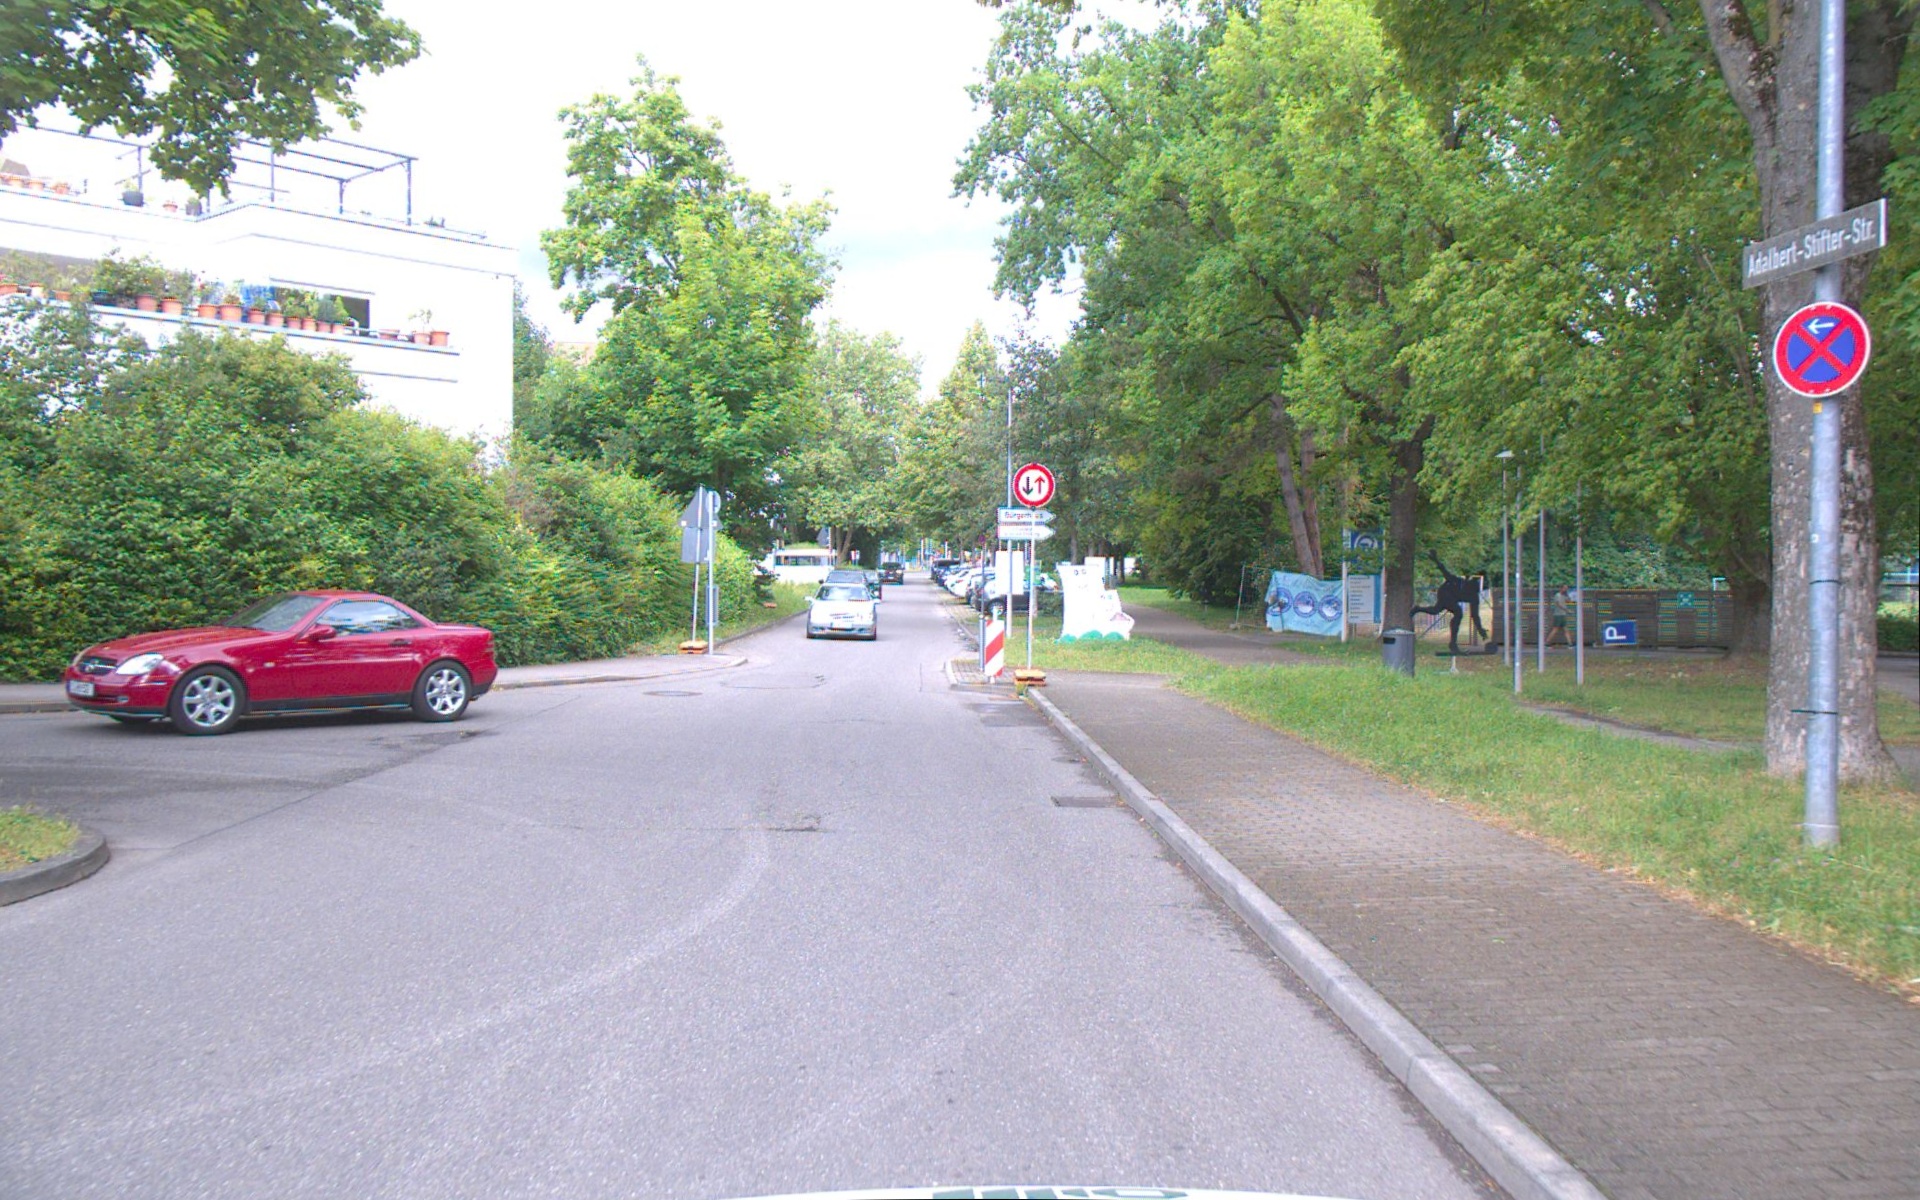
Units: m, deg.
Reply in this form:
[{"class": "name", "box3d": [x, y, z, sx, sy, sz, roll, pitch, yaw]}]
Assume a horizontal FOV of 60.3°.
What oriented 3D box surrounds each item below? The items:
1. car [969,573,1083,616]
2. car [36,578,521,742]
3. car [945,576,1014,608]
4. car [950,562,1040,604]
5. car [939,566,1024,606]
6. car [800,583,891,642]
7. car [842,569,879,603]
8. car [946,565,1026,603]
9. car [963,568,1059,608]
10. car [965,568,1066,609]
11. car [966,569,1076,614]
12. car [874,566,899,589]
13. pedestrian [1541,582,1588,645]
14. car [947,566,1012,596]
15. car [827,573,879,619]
[{"class": "car", "box3d": [2.383, -0.184, 60.351, 3.982, 1.459, 1.999, -1, -1, -3]}, {"class": "car", "box3d": [-6.474, 0.492, 16.060, 1.724, 1.359, 4.044, 1, 1, 40]}, {"class": "car", "box3d": [1.190, -0.531, 101.521, 3.985, 1.716, 1.820, -3, 1, -5]}, {"class": "car", "box3d": [1.624, -0.809, 77.990, 3.985, 1.716, 1.820, -3, 1, -5]}, {"class": "car", "box3d": [1.029, -0.709, 82.012, 3.985, 1.716, 1.820, -3, 1, -5]}, {"class": "car", "box3d": [-2.793, 0.273, 41.208, 1.744, 1.329, 4.298, 1, 1, 3]}, {"class": "car", "box3d": [-4.877, -0.702, 81.359, 1.767, 1.619, 4.293, 1, 1, -3]}, {"class": "car", "box3d": [1.364, -0.849, 87.323, 3.985, 1.716, 1.820, -3, 1, -5]}, {"class": "car", "box3d": [2.235, -0.532, 72.915, 3.985, 1.514, 1.820, -3, 1, -5]}, {"class": "car", "box3d": [2.257, -0.483, 68.088, 3.982, 1.595, 1.822, -1, 1, -3]}, {"class": "car", "box3d": [2.282, -0.307, 62.457, 3.982, 1.596, 1.821, -1, -1, -3]}, {"class": "car", "box3d": [-5.943, -1.814, 133.632, 1.929, 1.778, 4.336, 1, 1, -3]}, {"class": "pedestrian", "box3d": [16.691, 0.376, 45.660, 1.124, 1.704, 0.793, -1, -1, 24]}, {"class": "car", "box3d": [1.276, -1.264, 107.421, 3.985, 1.716, 1.820, -3, 1, -5]}, {"class": "car", "box3d": [-3.980, -0.183, 62.019, 1.766, 1.619, 4.295, 1, 1, -2]}]
